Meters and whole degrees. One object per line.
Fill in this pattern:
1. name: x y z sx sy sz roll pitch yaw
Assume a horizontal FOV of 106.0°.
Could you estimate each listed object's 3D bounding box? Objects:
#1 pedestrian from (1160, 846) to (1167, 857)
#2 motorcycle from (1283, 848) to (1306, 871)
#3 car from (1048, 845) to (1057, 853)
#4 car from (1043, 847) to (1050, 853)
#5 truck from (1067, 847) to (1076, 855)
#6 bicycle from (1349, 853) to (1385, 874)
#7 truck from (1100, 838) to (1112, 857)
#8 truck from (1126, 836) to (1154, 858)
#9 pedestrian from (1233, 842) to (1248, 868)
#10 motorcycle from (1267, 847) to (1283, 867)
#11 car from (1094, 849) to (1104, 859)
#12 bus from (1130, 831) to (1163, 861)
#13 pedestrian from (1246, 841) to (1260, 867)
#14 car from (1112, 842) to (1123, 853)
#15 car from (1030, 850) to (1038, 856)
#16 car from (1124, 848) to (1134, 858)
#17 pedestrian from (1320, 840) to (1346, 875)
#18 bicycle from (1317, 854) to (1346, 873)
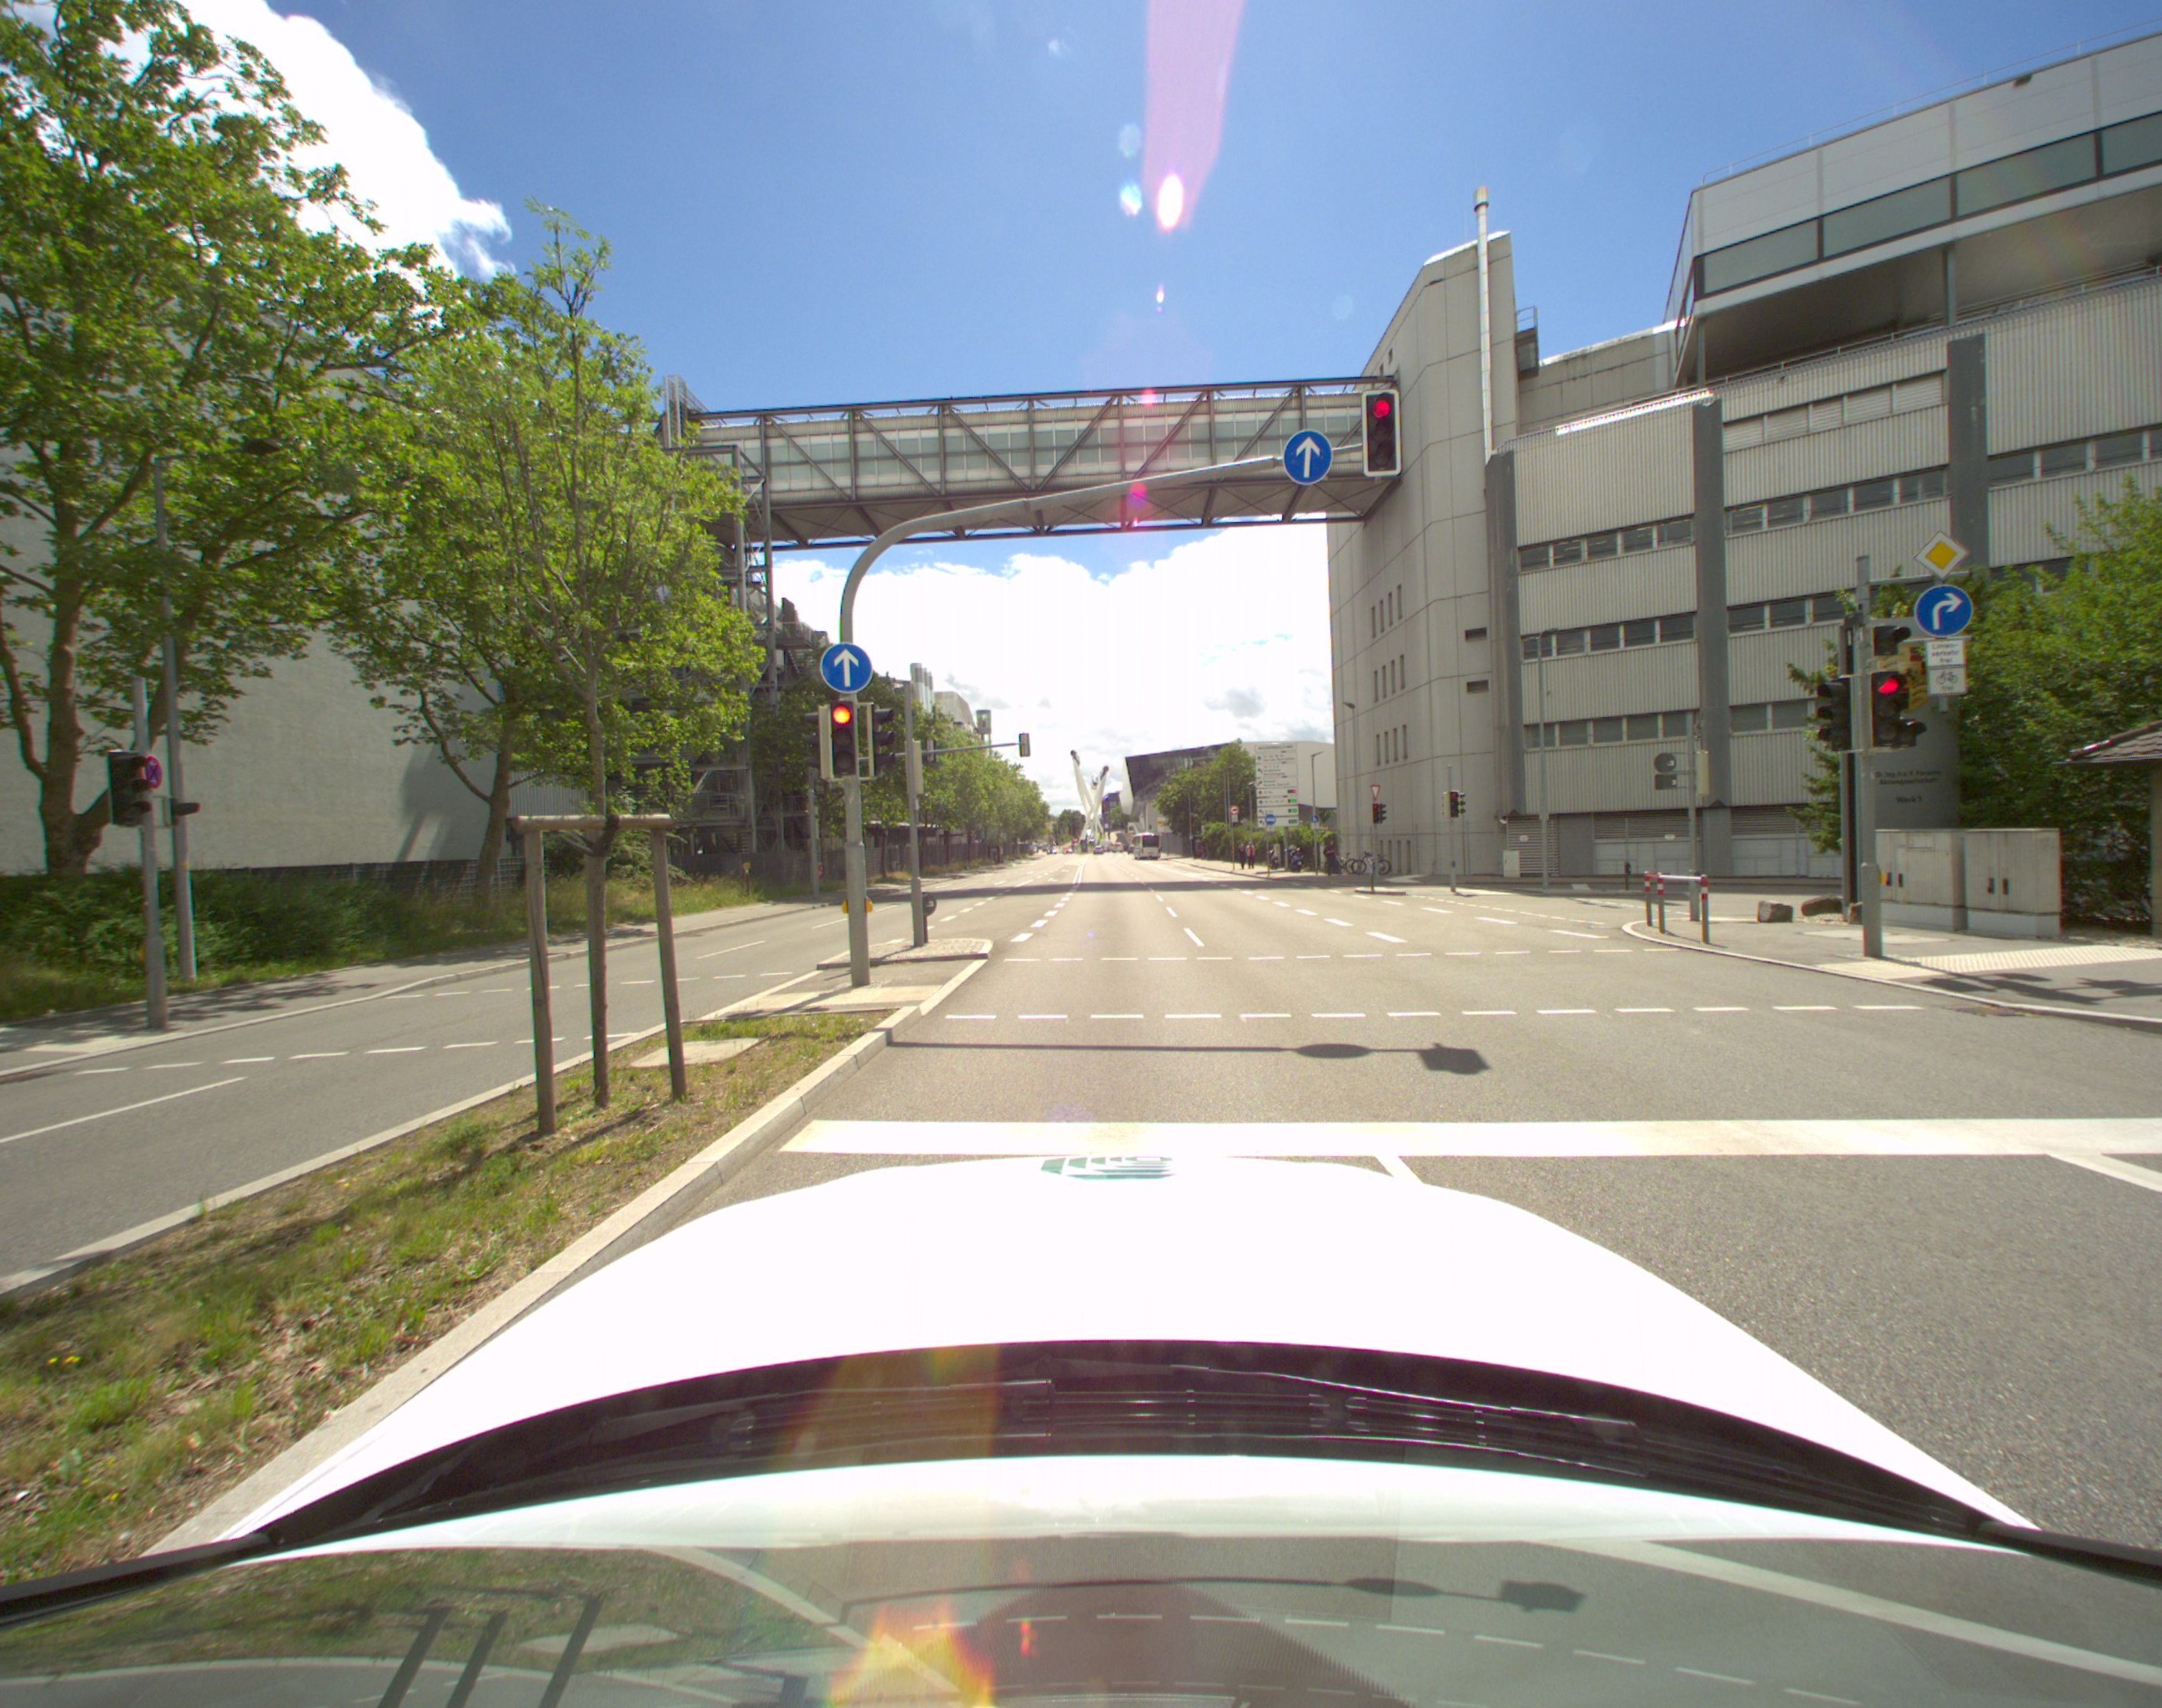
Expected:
1. pedestrian: 14.191 -0.417 140.013 1.026 2.014 0.884 0 -1 -2
2. motorcycle: 11.712 0.295 44.755 0.703 1.203 2.025 -3 1 2
3. car: -6.185 -1.093 179.224 1.813 1.537 3.677 -3 0 -1
4. car: -9.492 -1.182 224.342 1.813 1.537 3.678 -3 0 0
5. truck: -1.948 -0.586 170.000 1.580 1.537 3.673 -1 0 -4
6. bicycle: 13.490 0.454 38.498 0.399 0.937 1.913 -1 0 -24
7. truck: 5.313 -1.371 172.257 2.383 3.897 6.180 -1 0 2
8. truck: 12.532 -1.498 171.626 3.424 4.391 9.466 -1 0 19
9. pedestrian: 10.656 0.052 54.398 0.817 1.707 0.881 -1 0 1
10. motorcycle: 12.536 0.200 52.602 0.572 1.203 2.025 -3 1 2
11. car: 3.268 -0.070 148.634 1.732 1.741 3.693 -1 0 2
12. bus: 8.326 -1.007 105.357 3.441 3.543 10.606 -1 0 0
13. pedestrian: 11.480 -0.010 54.439 0.817 1.741 0.637 -1 0 1
14. car: 7.419 -1.262 165.670 1.984 2.014 4.006 -1 -1 6
15. car: -12.253 -0.299 212.087 1.813 1.537 3.678 -3 0 0
16. car: 8.636 -0.159 147.695 1.732 1.741 3.693 -1 0 2
17. pedestrian: 12.173 0.165 39.368 0.839 1.624 0.962 -1 0 43
18. bicycle: 12.546 0.455 40.810 0.398 0.937 1.917 -1 0 -17
